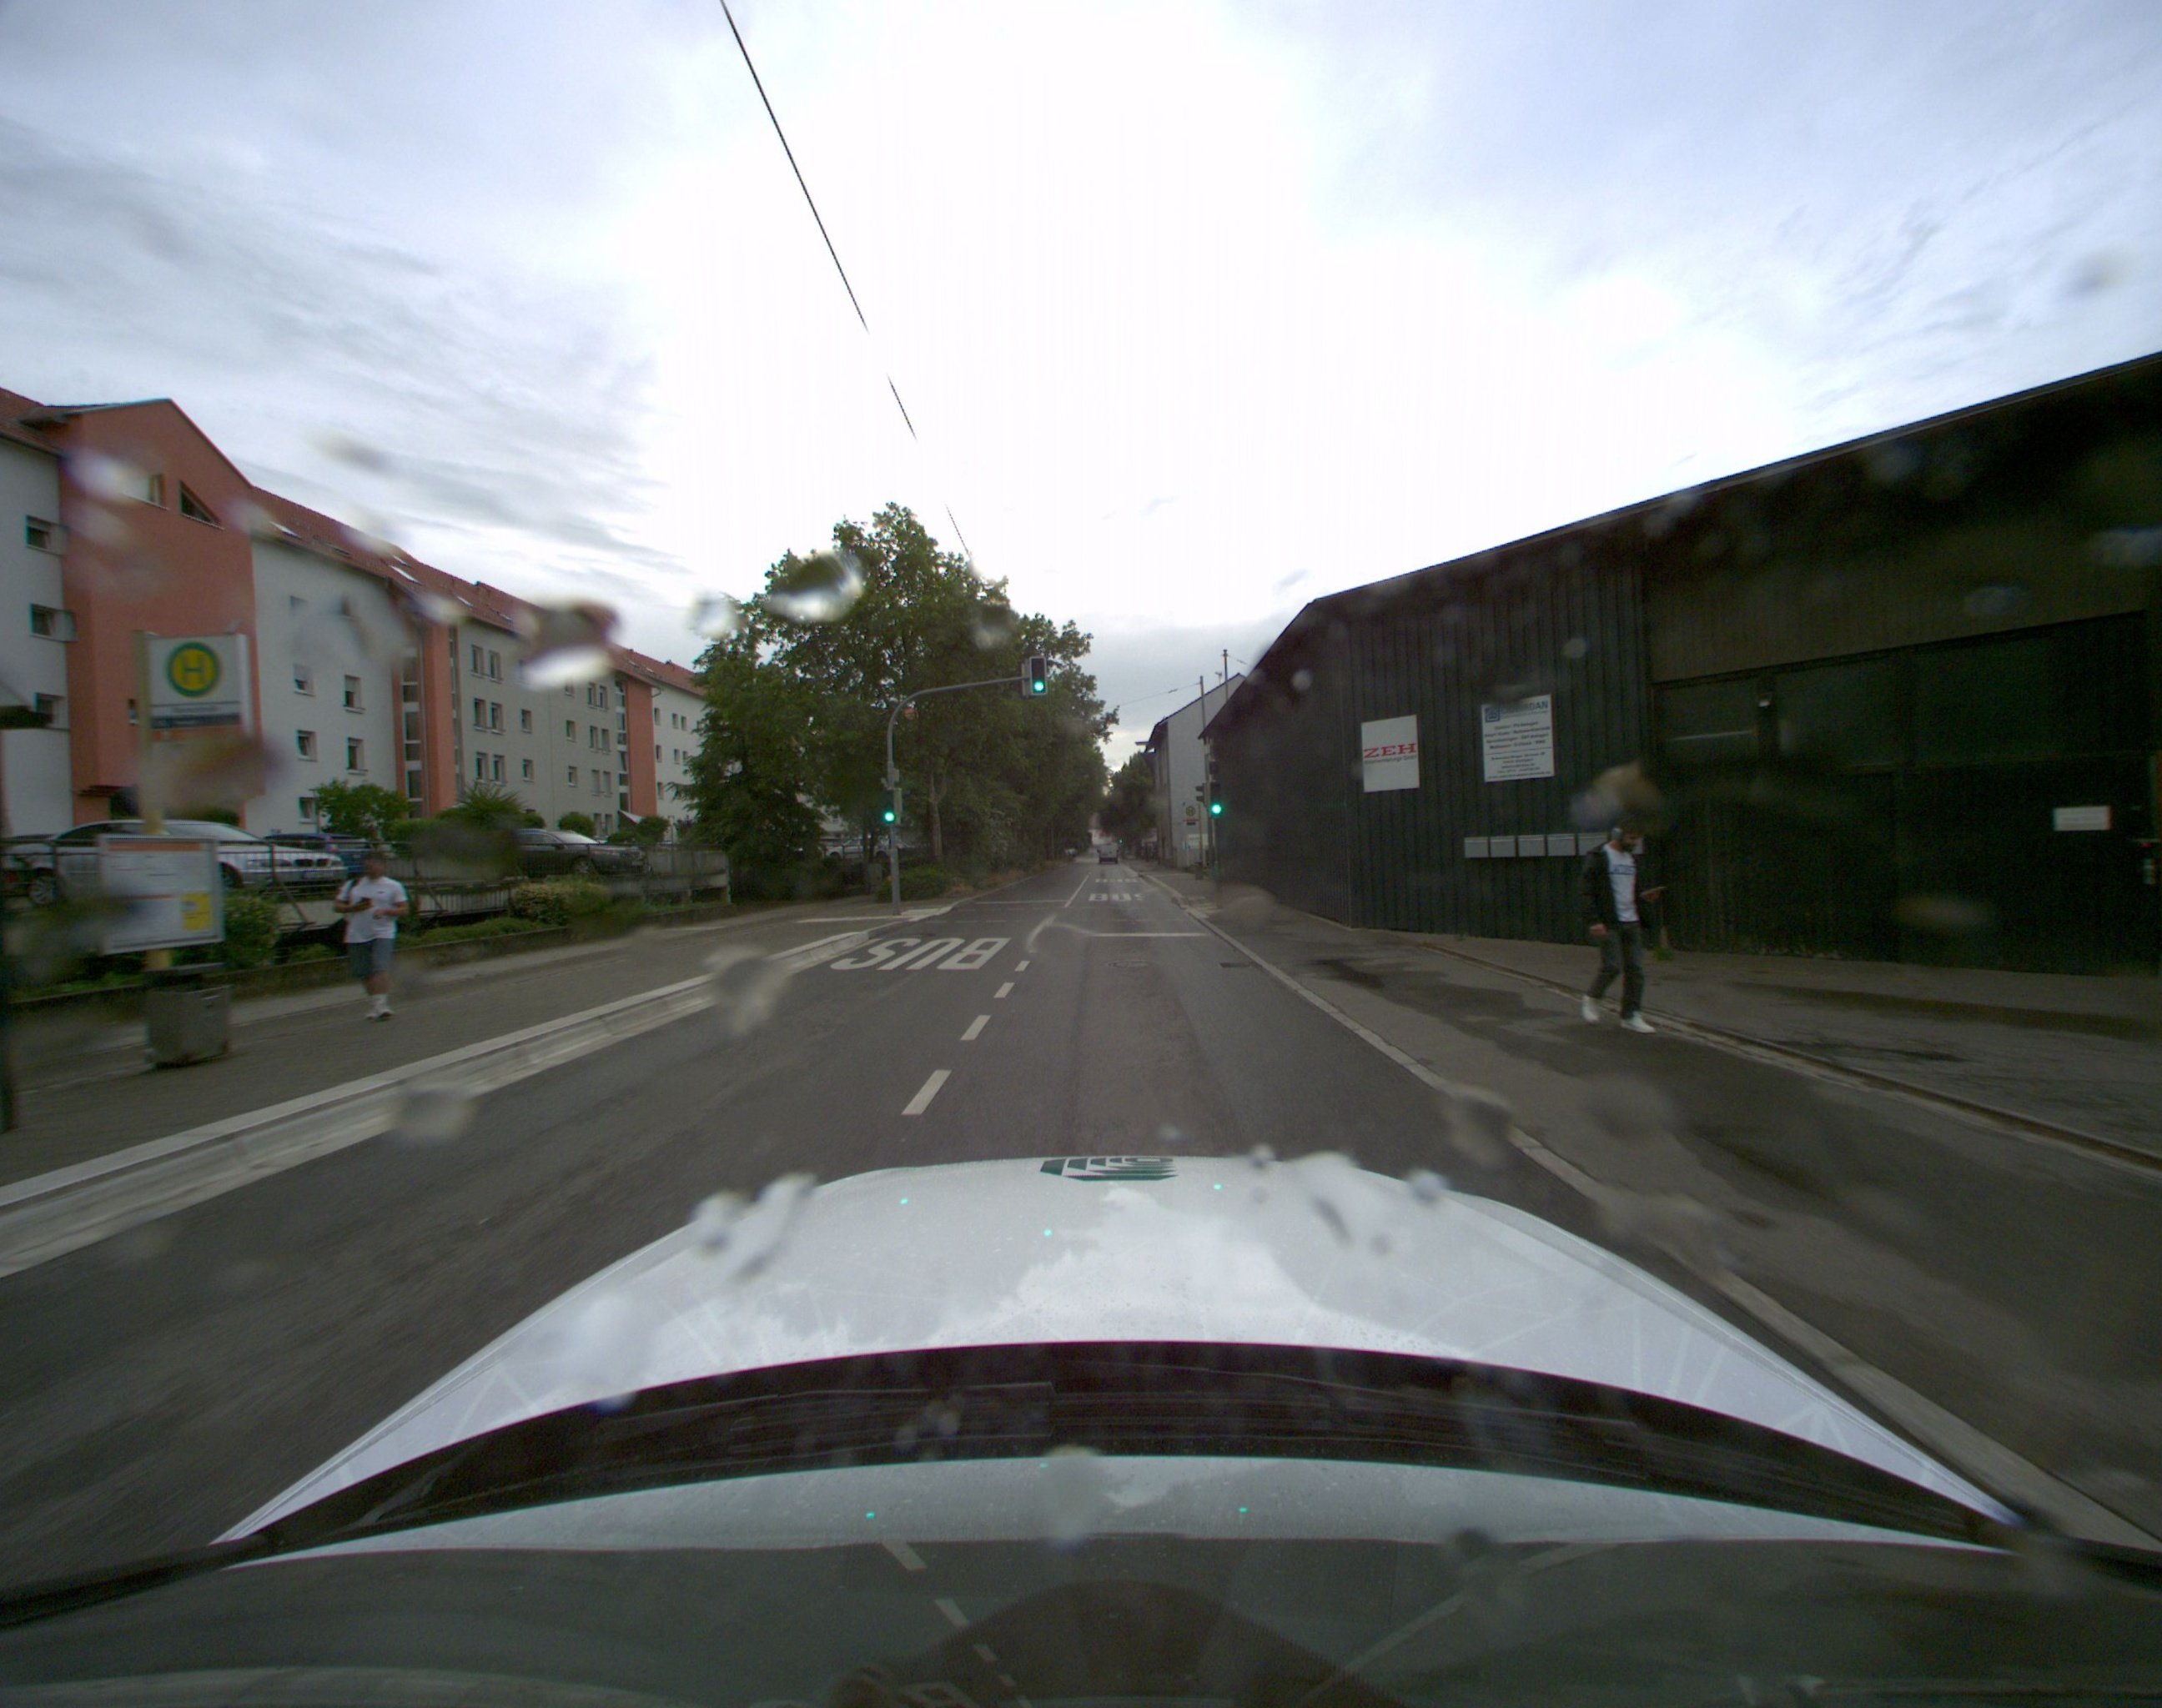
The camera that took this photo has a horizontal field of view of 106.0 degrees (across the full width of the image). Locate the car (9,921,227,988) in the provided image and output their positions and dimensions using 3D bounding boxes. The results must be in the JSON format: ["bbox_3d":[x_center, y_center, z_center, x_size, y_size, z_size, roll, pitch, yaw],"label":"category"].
[{"bbox_3d":[-24.122,2.506,20.485,3.503,1.404,1.720,-1,0,3],"label":"car"}]

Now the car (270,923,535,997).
[{"bbox_3d":[-15.021,2.318,18.199,4.340,1.424,1.860,0,-2,1],"label":"car"}]

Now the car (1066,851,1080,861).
[{"bbox_3d":[-1.406,0.363,150.773,2.206,1.691,4.614,-1,-1,4],"label":"car"}]

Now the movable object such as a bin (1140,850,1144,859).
[{"bbox_3d":[7.686,0.085,102.327,0.399,1.066,0.358,-5,-1,-5],"label":"movable object such as a bin"}]

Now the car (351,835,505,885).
[{"bbox_3d":[-22.137,0.216,27.710,3.798,1.602,1.718,0,-2,-1],"label":"car"}]

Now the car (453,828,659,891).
[{"bbox_3d":[-14.821,0.180,23.202,4.529,1.672,2.000,0,-2,0],"label":"car"}]

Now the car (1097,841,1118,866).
[{"bbox_3d":[2.914,0.012,89.237,2.274,2.553,4.001,-2,-2,2],"label":"car"}]

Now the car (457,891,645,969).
[{"bbox_3d":[-14.898,2.108,23.083,3.973,2.014,2.000,0,-2,0],"label":"car"}]

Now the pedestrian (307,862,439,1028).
[{"bbox_3d":[-7.297,0.914,8.418,0.738,1.598,0.607,-6,-2,5],"label":"pedestrian"}]

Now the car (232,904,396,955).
[{"bbox_3d":[-25.458,2.494,27.131,3.798,1.511,1.718,-1,-2,-1],"label":"car"}]

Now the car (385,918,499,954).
[{"bbox_3d":[-27.292,3.489,34.869,3.587,1.394,1.543,0,-2,-1],"label":"car"}]

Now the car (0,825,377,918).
[{"bbox_3d":[-14.850,0.305,13.720,4.340,1.424,1.860,0,-2,1],"label":"car"}]

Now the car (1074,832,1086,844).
[{"bbox_3d":[-0.249,-3.507,177.184,2.206,2.294,4.613,-1,-2,4],"label":"car"}]

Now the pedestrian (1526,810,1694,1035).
[{"bbox_3d":[4.285,0.523,6.670,0.741,1.704,0.900,0,-1,-4],"label":"pedestrian"}]

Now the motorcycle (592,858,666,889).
[{"bbox_3d":[-13.784,0.596,24.876,1.944,0.913,0.569,-1,-2,2],"label":"motorcycle"}]

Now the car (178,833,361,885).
[{"bbox_3d":[-24.635,0.163,24.824,3.798,1.511,1.718,0,-2,-1],"label":"car"}]

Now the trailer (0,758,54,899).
[{"bbox_3d":[-13.951,-0.282,9.266,2.694,1.645,1.481,-1,-1,2],"label":"trailer"}]

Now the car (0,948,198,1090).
[{"bbox_3d":[-15.585,2.368,11.889,3.496,1.697,1.705,-1,0,1],"label":"car"}]

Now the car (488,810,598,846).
[{"bbox_3d":[-22.802,-1.086,34.602,3.587,1.394,1.543,0,-2,-1],"label":"car"}]

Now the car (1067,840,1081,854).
[{"bbox_3d":[-1.291,-1.340,155.609,2.206,2.534,4.614,-1,-1,4],"label":"car"}]

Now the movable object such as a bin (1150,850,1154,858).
[{"bbox_3d":[8.897,-0.001,102.241,0.399,1.067,0.358,-1,-2,-5],"label":"movable object such as a bin"}]

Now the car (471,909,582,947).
[{"bbox_3d":[-23.508,3.129,34.608,3.587,1.394,1.543,-1,0,-1],"label":"car"}]

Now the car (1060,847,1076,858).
[{"bbox_3d":[-2.045,-0.244,131.715,2.206,1.592,4.614,-1,-1,4],"label":"car"}]

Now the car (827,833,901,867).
[{"bbox_3d":[-13.708,-0.264,51.517,4.154,2.013,1.719,-1,0,0],"label":"car"}]

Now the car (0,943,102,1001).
[{"bbox_3d":[-24.230,2.631,18.171,3.184,1.082,1.378,-1,0,3],"label":"car"}]
